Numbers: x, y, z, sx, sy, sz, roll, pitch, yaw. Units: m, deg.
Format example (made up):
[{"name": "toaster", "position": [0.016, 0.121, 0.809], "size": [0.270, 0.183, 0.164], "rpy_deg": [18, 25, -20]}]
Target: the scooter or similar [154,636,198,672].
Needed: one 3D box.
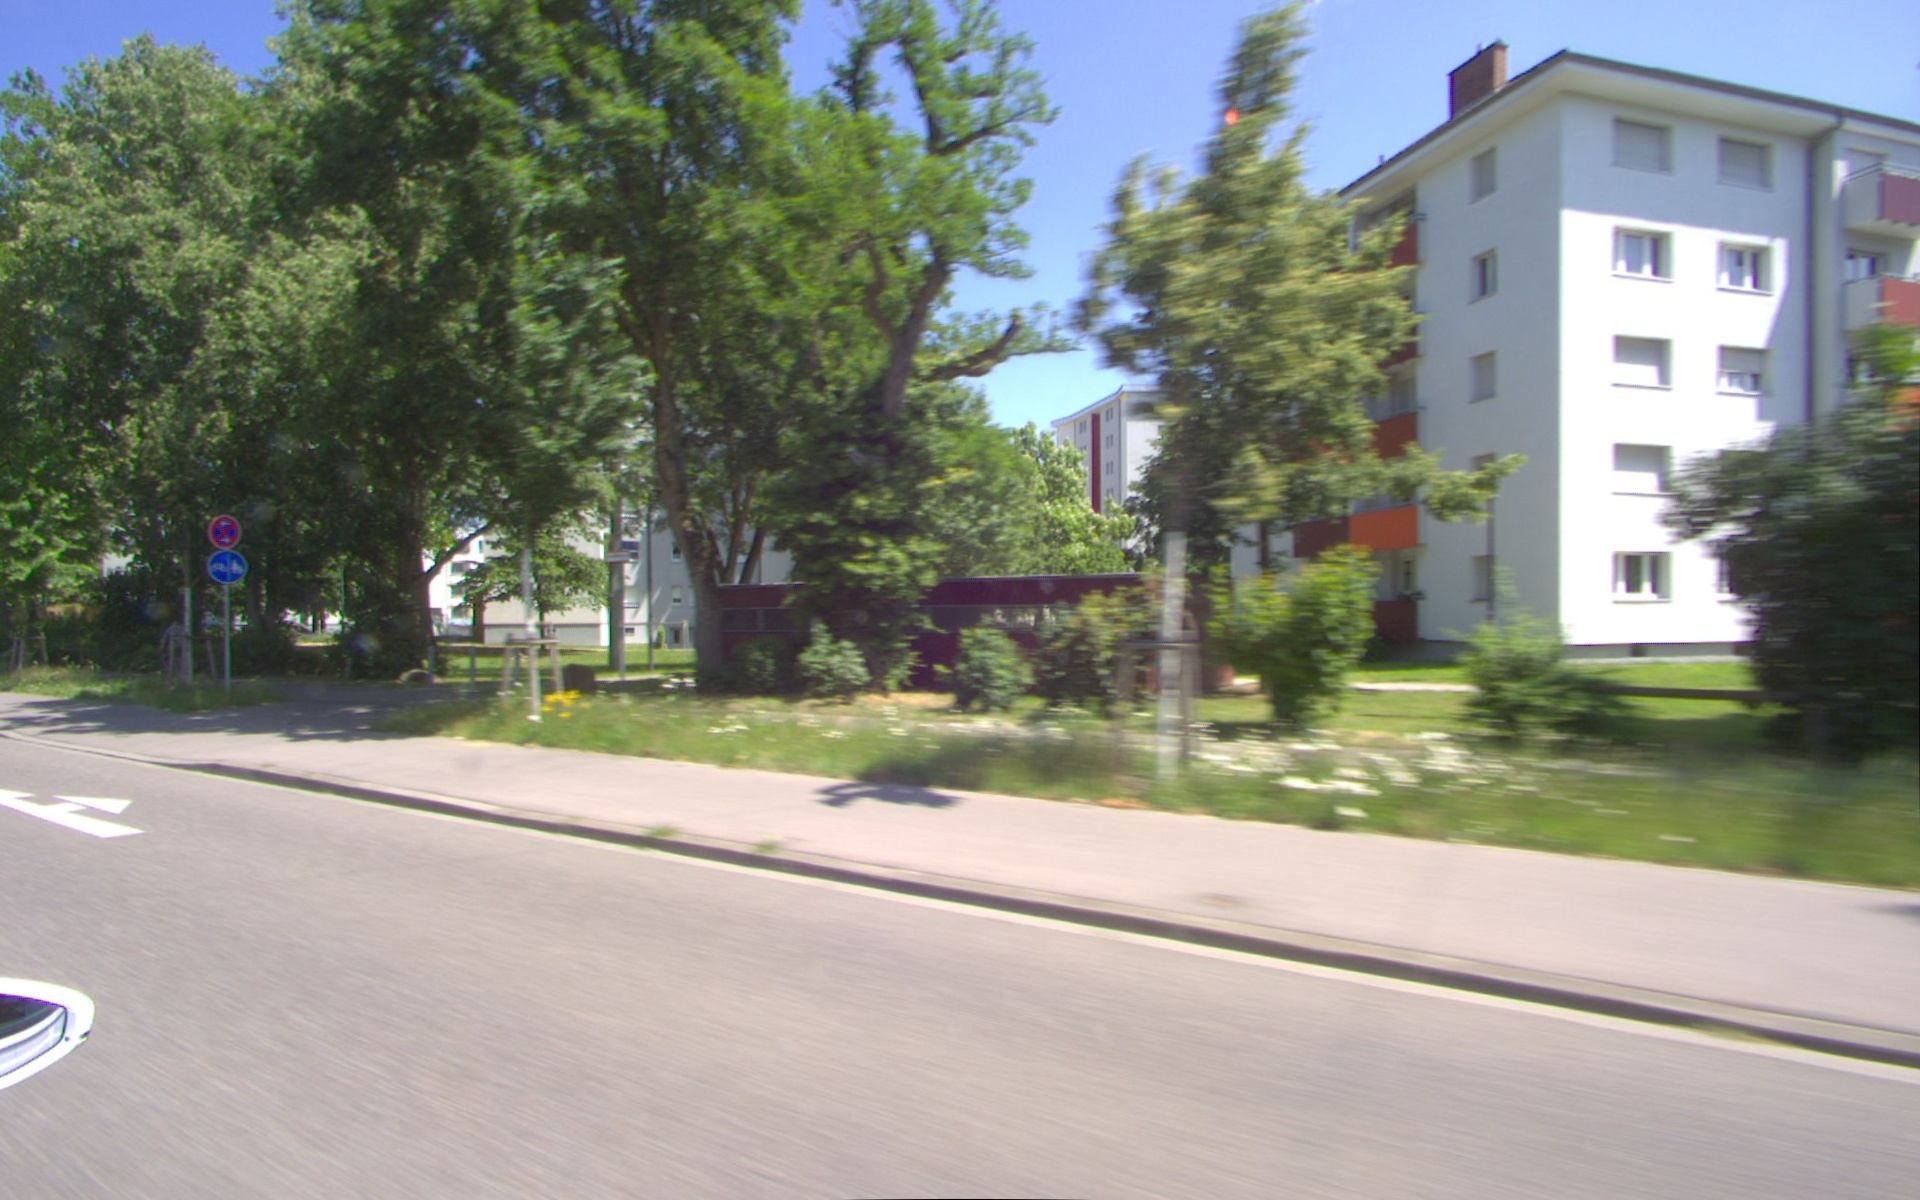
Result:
[{"name": "scooter or similar", "position": [-20.273, 1.388, 25.894], "size": [0.752, 0.904, 0.706], "rpy_deg": [0, -2, 34]}]

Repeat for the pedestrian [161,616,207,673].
[{"name": "pedestrian", "position": [-19.838, 1.128, 25.596], "size": [0.752, 1.416, 0.706], "rpy_deg": [0, -1, 34]}]
